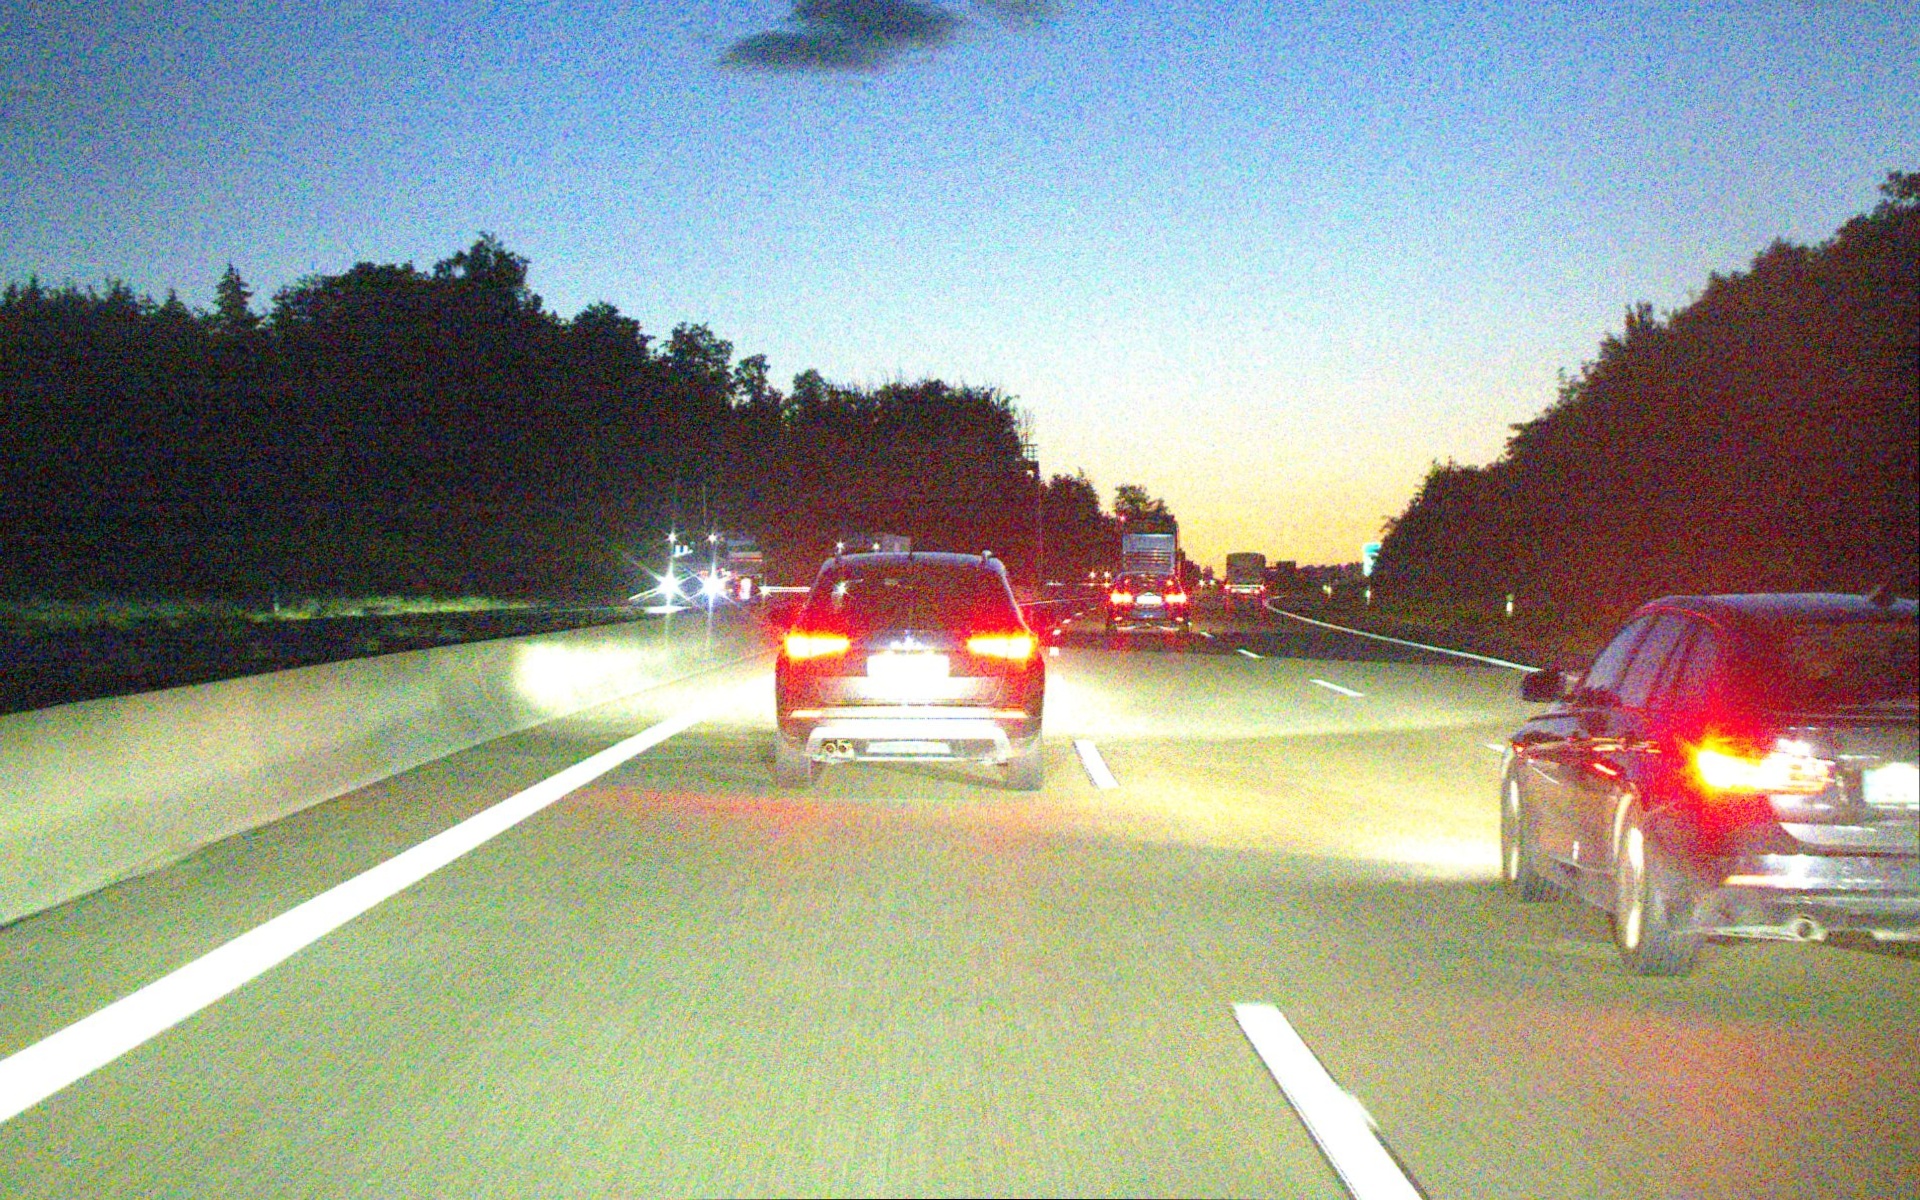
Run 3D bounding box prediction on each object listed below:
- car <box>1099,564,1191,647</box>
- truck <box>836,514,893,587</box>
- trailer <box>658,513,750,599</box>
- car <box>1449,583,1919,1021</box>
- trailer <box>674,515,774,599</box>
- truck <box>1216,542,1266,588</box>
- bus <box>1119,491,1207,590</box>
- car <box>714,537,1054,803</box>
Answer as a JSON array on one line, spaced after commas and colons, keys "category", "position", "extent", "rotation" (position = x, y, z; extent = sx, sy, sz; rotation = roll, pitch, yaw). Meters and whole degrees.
[{"category": "car", "position": [4.143, 0.142, 77.500], "extent": [1.911, 1.724, 3.999], "rotation": [3, -1, 2]}, {"category": "truck", "position": [-5.883, -3.030, 213.112], "extent": [2.853, 4.418, 6.395], "rotation": [1, 0, 4]}, {"category": "trailer", "position": [-11.284, -1.924, 152.222], "extent": [3.057, 3.676, 7.228], "rotation": [1, 0, 4]}, {"category": "car", "position": [3.306, 0.658, 13.859], "extent": [1.835, 1.396, 5.069], "rotation": [0, 1, -1]}, {"category": "trailer", "position": [-10.840, -1.962, 159.110], "extent": [3.057, 3.676, 11.685], "rotation": [1, 0, 4]}, {"category": "truck", "position": [18.735, -2.331, 229.826], "extent": [2.546, 3.006, 9.053], "rotation": [1, 0, 0]}, {"category": "bus", "position": [9.388, -2.623, 157.667], "extent": [2.653, 3.980, 14.696], "rotation": [-2, -1, 8]}, {"category": "car", "position": [-0.485, 0.406, 23.746], "extent": [2.105, 1.612, 4.205], "rotation": [1, 1, 0]}]
